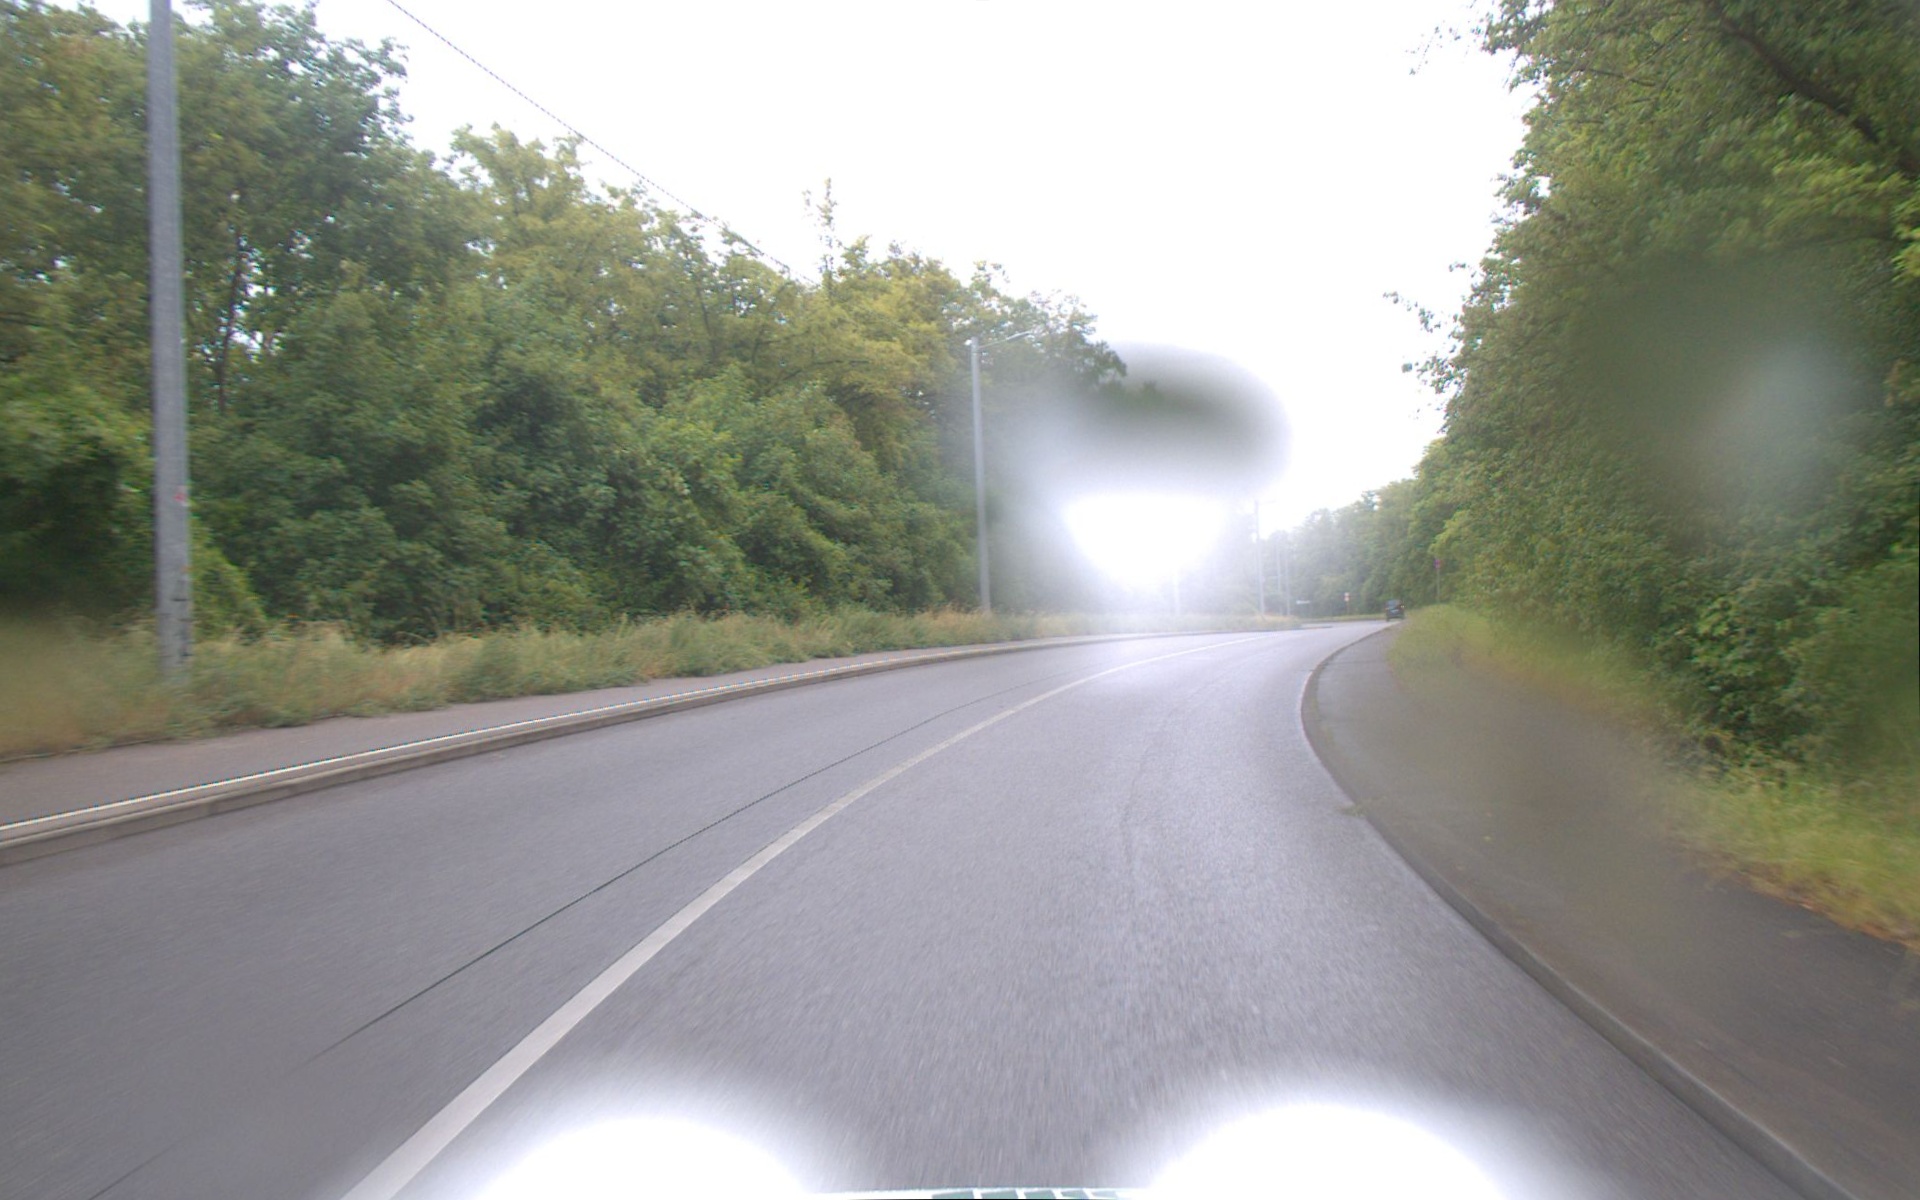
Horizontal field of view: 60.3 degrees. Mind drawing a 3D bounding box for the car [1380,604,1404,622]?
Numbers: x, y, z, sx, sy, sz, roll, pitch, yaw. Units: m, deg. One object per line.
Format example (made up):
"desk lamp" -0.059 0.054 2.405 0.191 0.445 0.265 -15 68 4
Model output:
"car" 40.112 1.212 153.764 1.828 1.624 4.003 1 -1 10
